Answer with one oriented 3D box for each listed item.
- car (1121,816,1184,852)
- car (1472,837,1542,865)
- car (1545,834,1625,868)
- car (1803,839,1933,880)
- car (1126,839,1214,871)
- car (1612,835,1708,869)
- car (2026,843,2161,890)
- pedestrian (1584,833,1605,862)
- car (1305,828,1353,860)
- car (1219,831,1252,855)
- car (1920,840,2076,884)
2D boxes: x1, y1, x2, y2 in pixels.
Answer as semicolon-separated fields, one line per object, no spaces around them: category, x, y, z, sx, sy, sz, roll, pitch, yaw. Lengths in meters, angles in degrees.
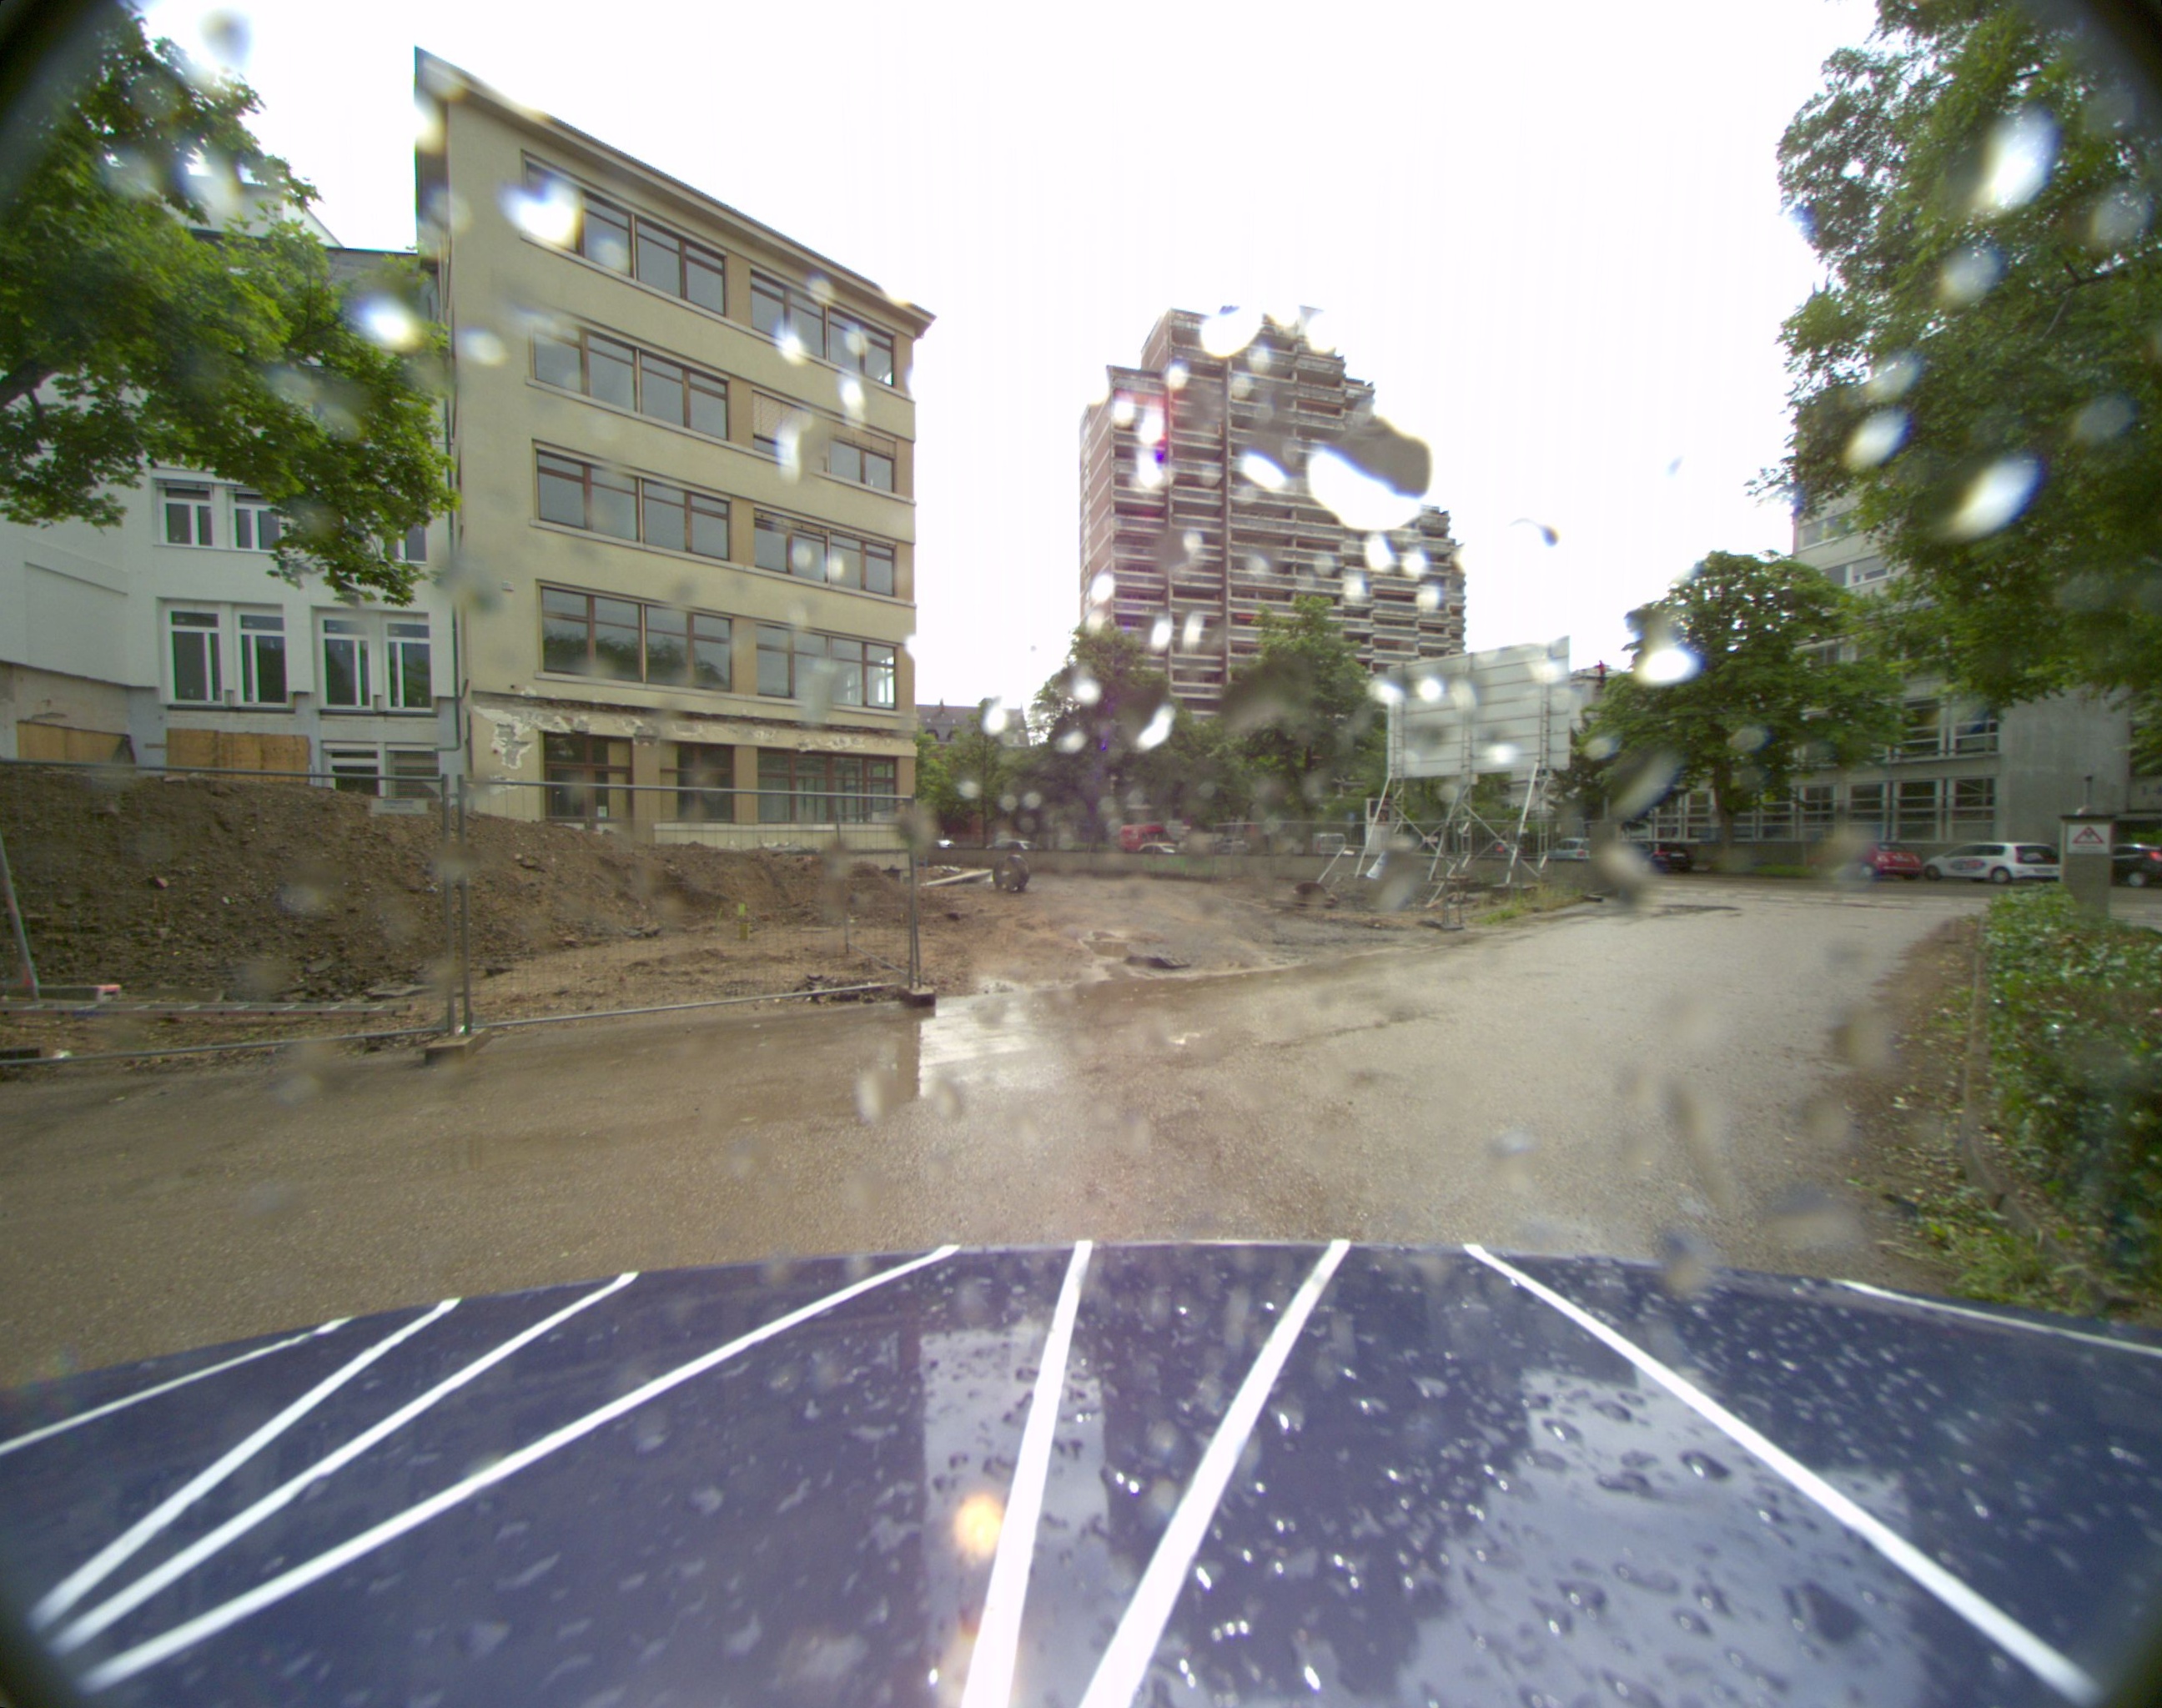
car;5.447;-1.565;58.772;2.306;2.619;5.469;0;2;-27
car;22.456;-0.207;40.229;1.768;1.389;3.649;0;2;3
car;24.562;-0.184;37.166;1.706;1.542;3.650;0;2;6
car;31.232;0.189;30.303;1.740;1.461;3.408;2;2;5
car;4.281;0.035;37.017;1.894;1.462;3.988;0;0;-40
car;26.363;-0.131;34.753;1.740;1.461;3.650;0;2;5
car;35.240;0.373;25.790;1.813;1.472;3.982;1;1;11
pedestrian;30.780;-0.384;45.560;0.706;1.733;0.840;1;0;9
car;15.549;-0.658;47.895;1.935;1.886;4.646;1;2;6
car;10.912;-0.818;53.909;1.783;1.557;4.045;0;3;4
car;32.980;0.244;27.485;1.708;1.444;3.409;0;2;8
